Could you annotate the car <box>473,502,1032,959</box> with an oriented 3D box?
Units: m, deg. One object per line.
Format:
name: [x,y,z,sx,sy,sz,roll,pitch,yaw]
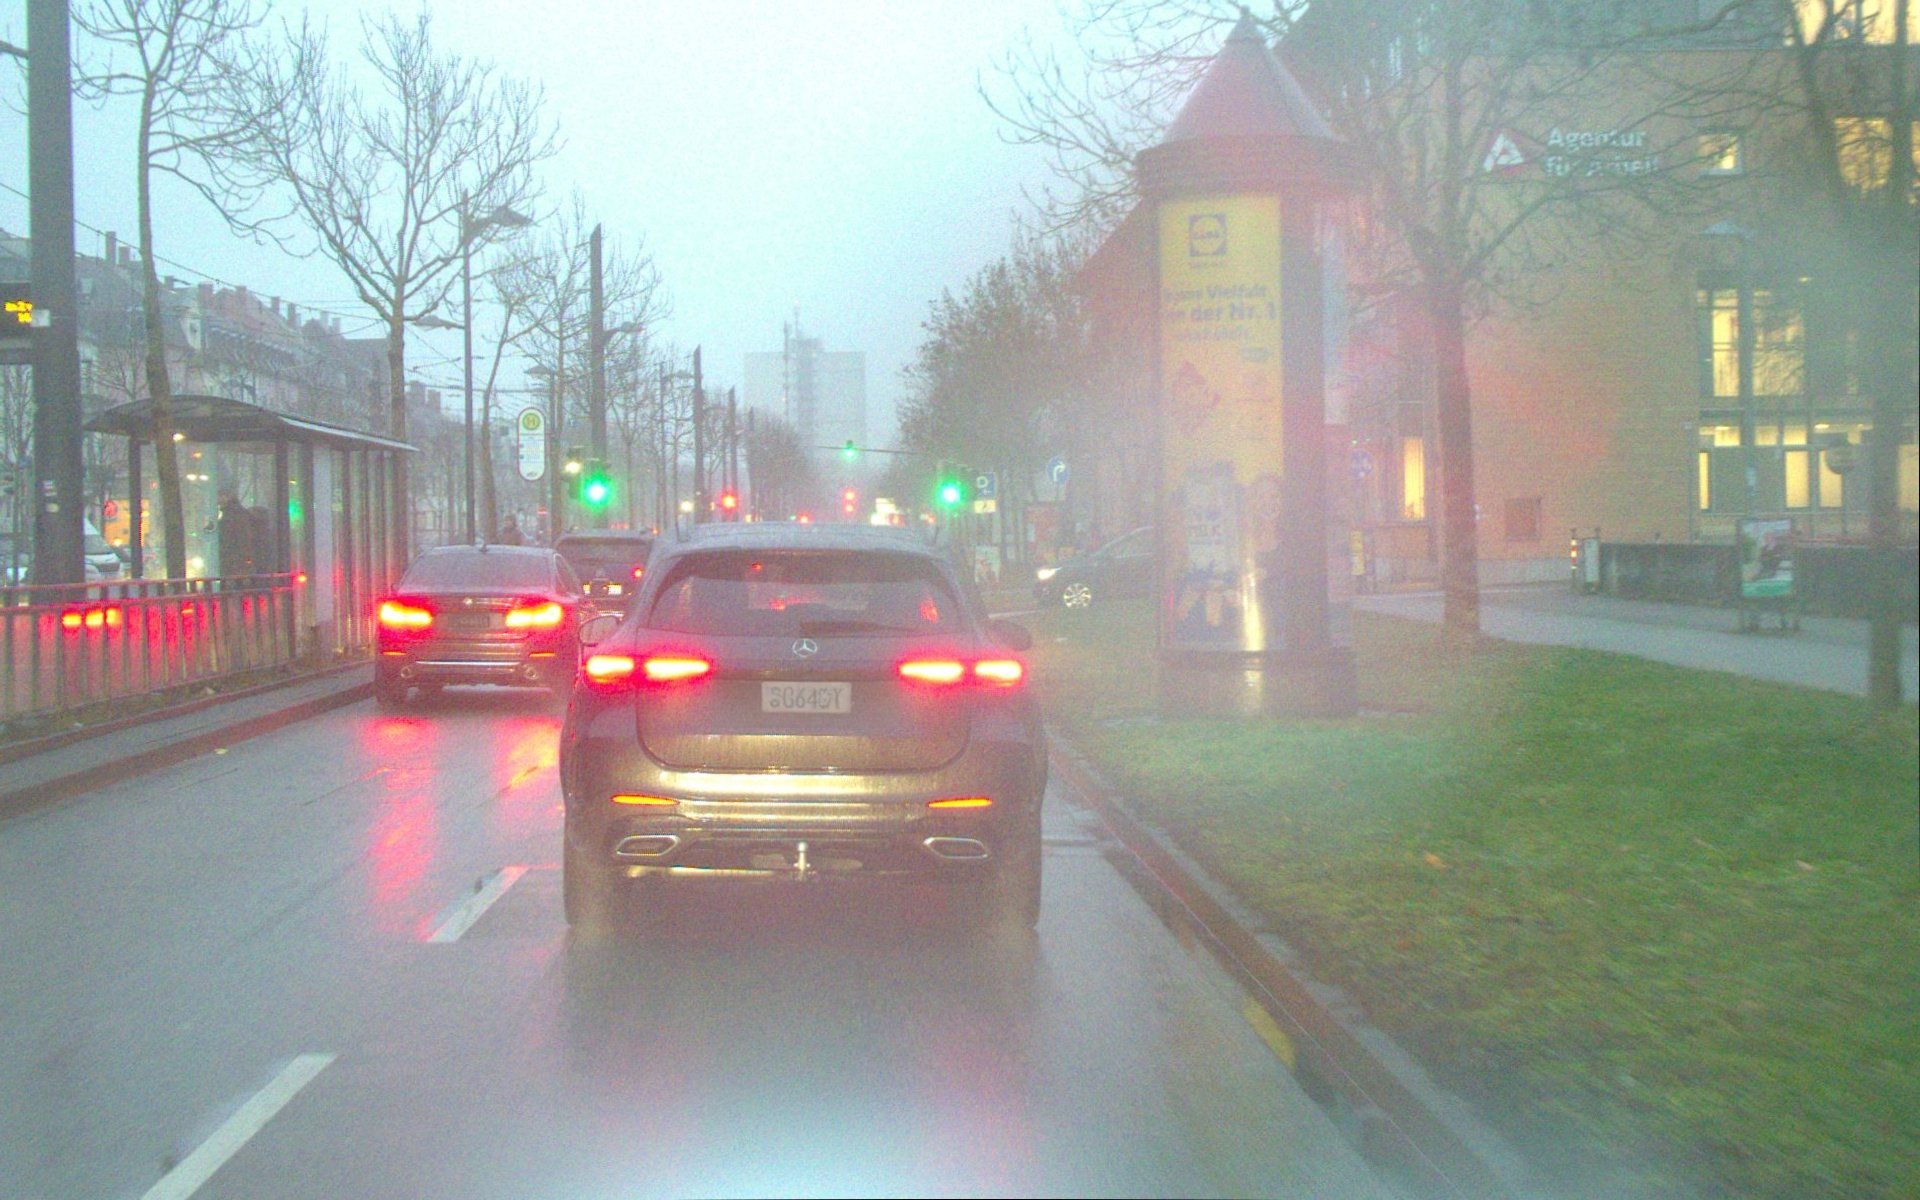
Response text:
car: [-0.810,0.424,14.481,1.990,1.610,4.001,-1,1,-2]

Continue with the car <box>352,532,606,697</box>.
car: [-4.438,0.088,32.269,1.993,1.393,4.001,-1,1,-3]

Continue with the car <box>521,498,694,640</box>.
car: [-4.653,-0.443,45.874,1.993,1.759,4.001,-1,1,-2]

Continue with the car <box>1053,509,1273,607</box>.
car: [3.723,-0.780,63.508,3.860,1.555,1.765,-4,1,0]

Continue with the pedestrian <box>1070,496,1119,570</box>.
pedestrian: [2.931,-1.452,74.977,0.903,1.590,0.501,-1,1,40]

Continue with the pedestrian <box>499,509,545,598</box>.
pedestrian: [-7.726,-0.825,60.625,0.698,1.547,0.669,-2,1,-2]

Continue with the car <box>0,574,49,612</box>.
car: [-32.089,-0.191,112.965,3.774,1.152,1.649,-2,1,4]

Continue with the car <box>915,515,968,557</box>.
car: [-0.767,-2.607,140.039,1.993,1.593,4.001,-2,1,-2]

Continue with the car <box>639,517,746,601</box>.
car: [-5.400,-0.854,69.815,1.993,1.612,4.001,-1,1,-2]
